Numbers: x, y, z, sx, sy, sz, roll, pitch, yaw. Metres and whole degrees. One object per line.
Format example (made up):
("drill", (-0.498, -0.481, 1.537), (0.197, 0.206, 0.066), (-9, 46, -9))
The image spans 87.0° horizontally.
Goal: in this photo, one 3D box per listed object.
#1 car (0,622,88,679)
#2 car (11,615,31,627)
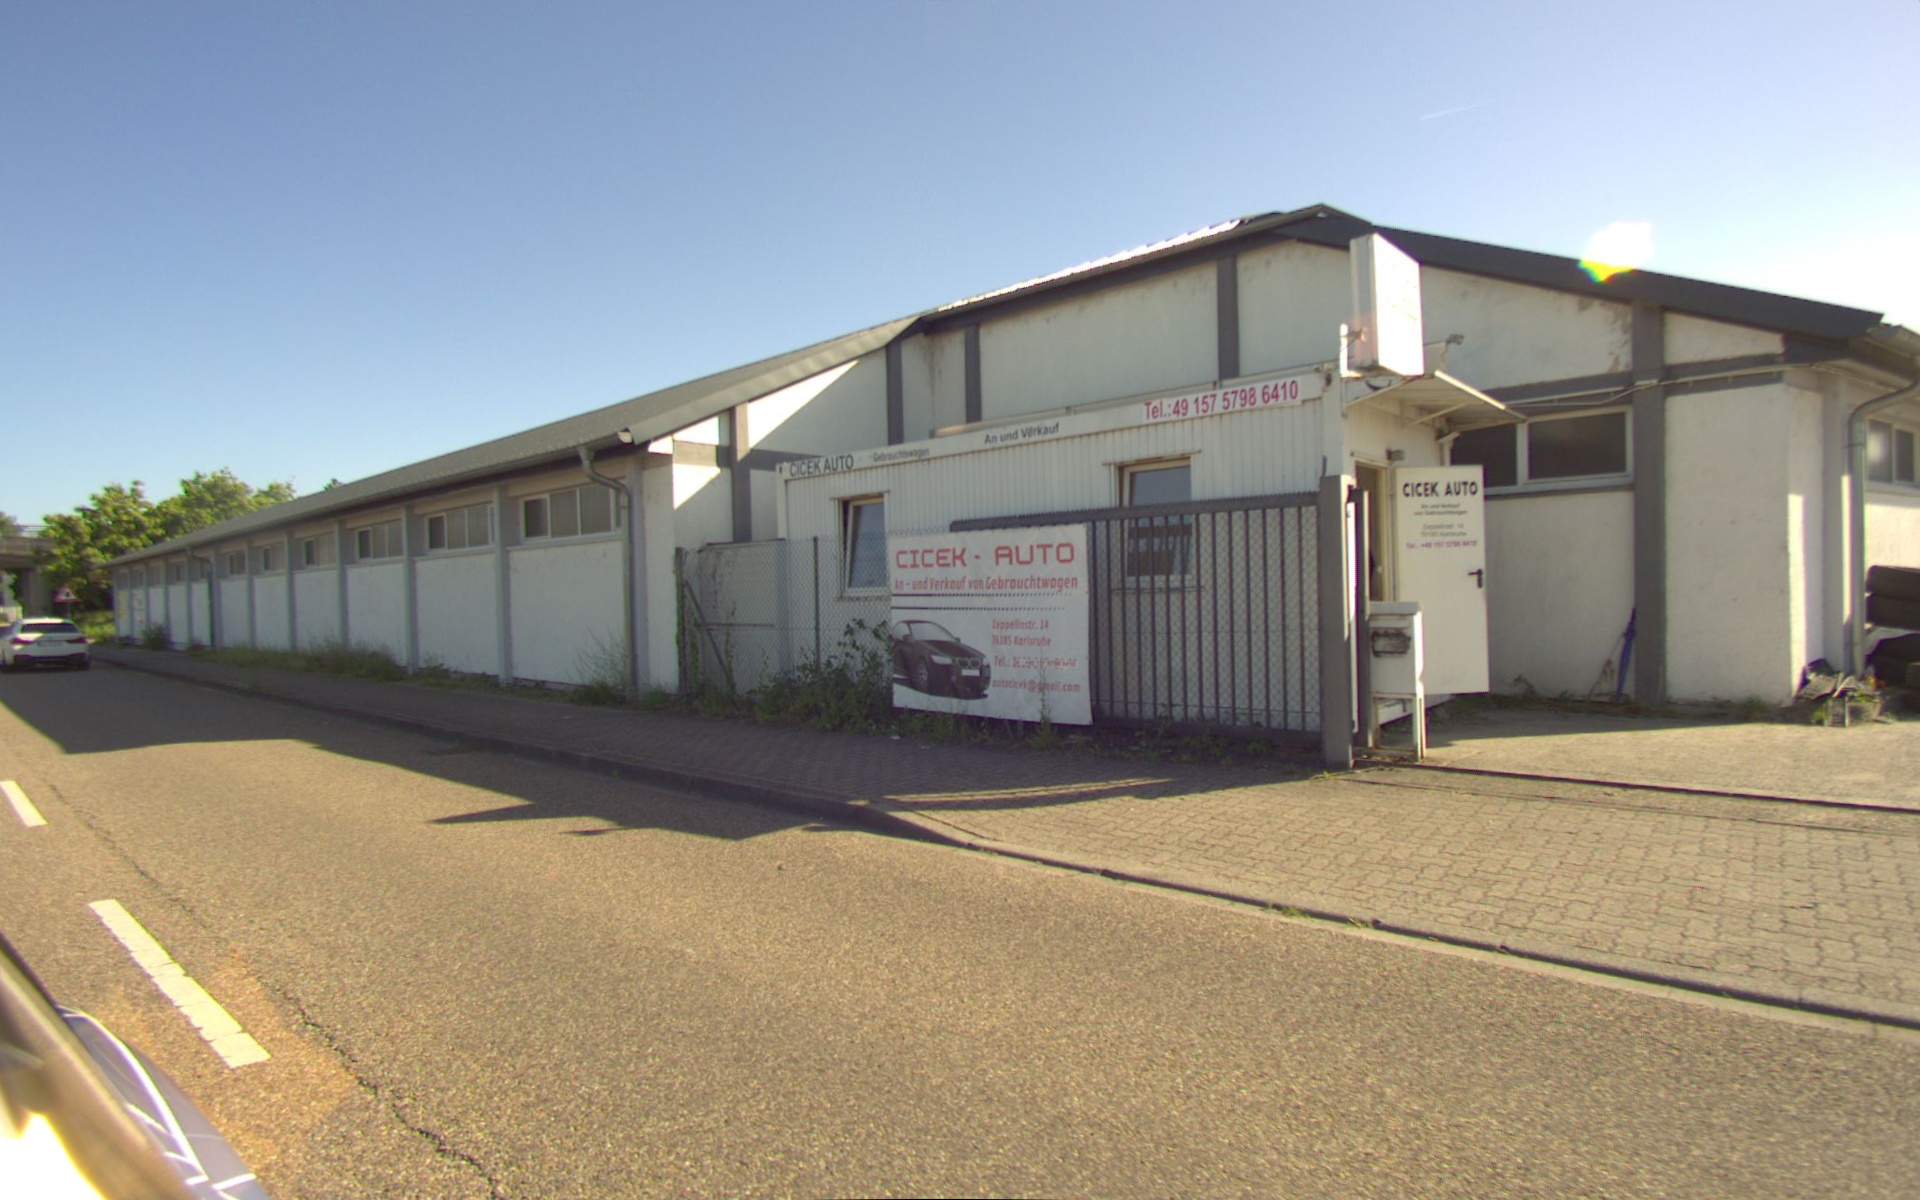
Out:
("car", (-26.581, 1.386, 29.094), (4.688, 1.489, 1.789), (-1, -1, 43))
("car", (-137.197, 3.052, 147.838), (1.969, 1.791, 4.372), (-2, 1, -41))
